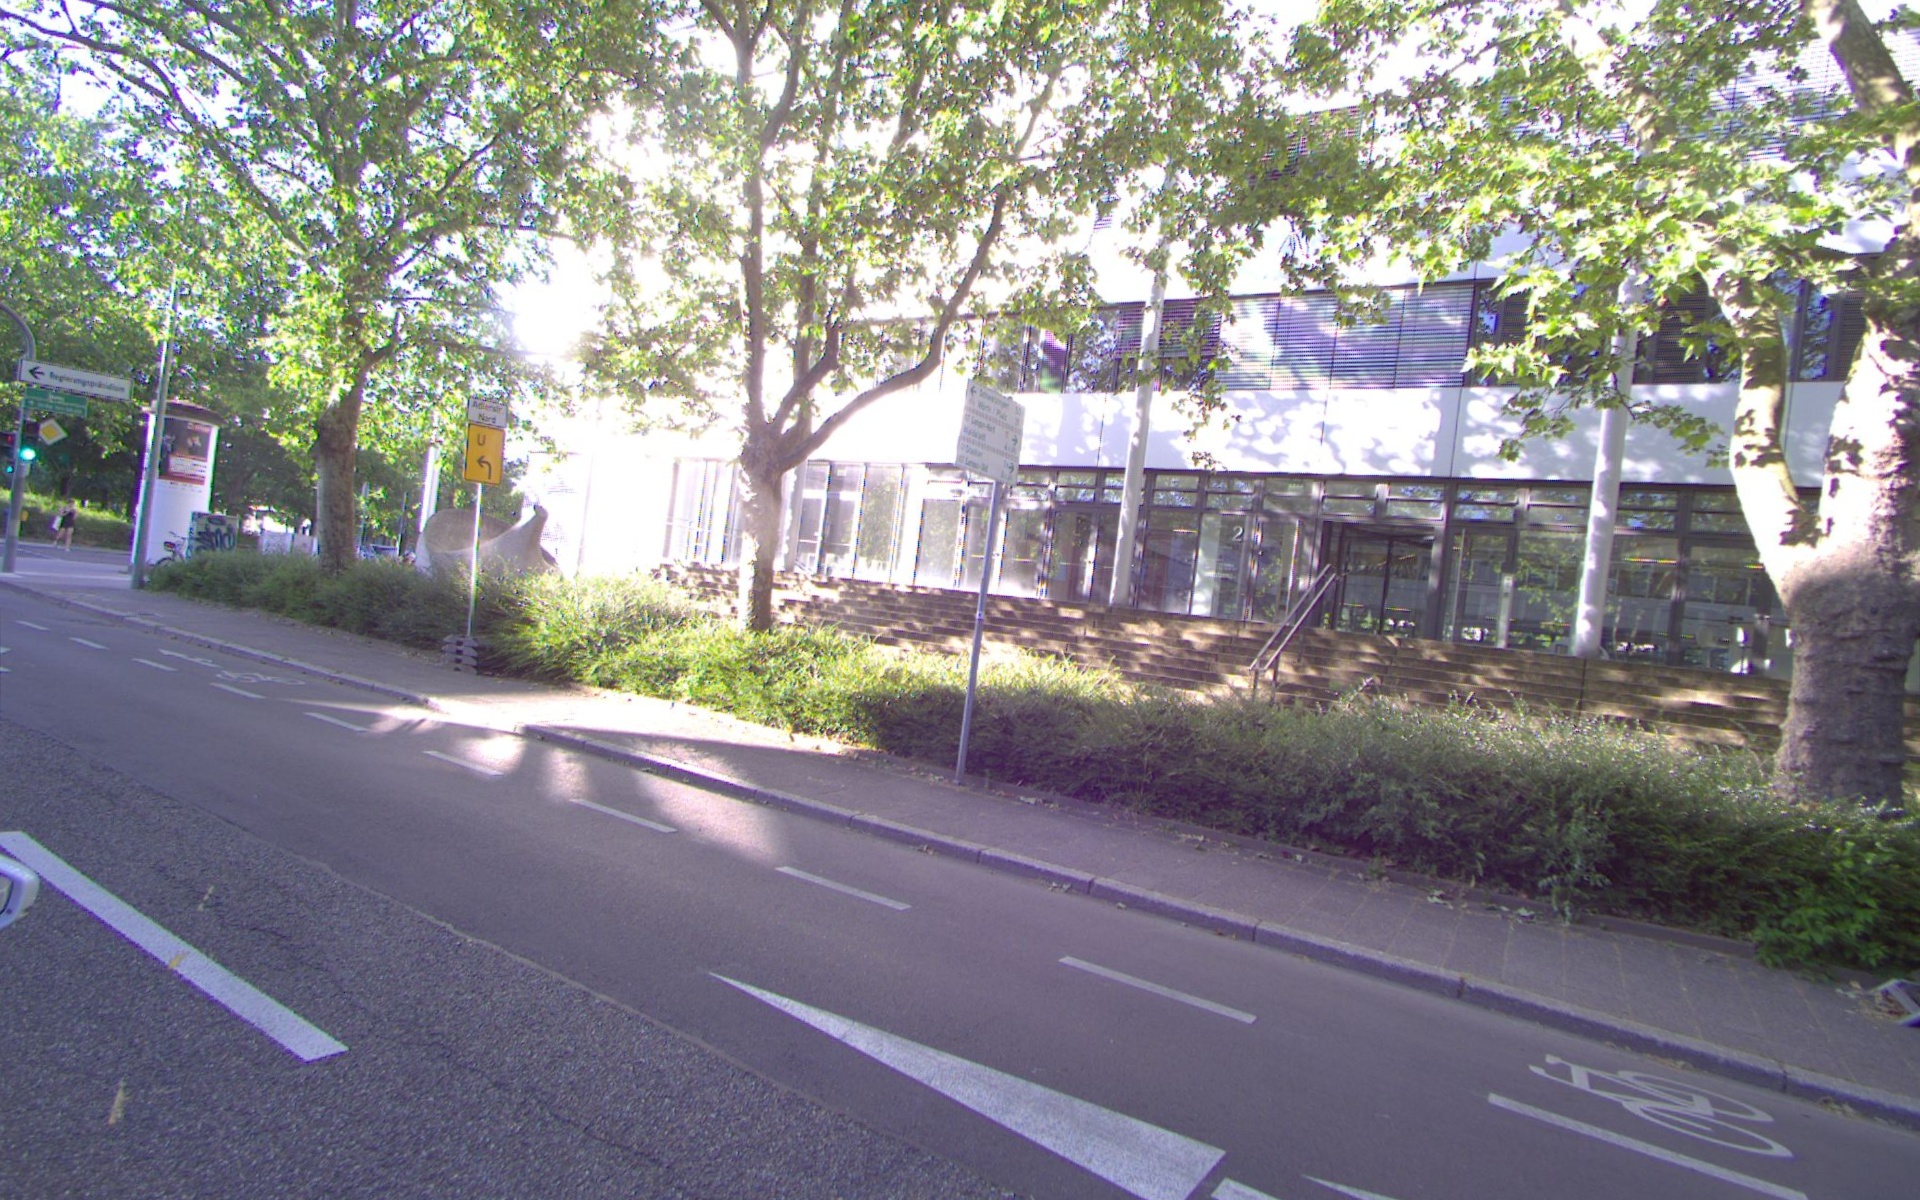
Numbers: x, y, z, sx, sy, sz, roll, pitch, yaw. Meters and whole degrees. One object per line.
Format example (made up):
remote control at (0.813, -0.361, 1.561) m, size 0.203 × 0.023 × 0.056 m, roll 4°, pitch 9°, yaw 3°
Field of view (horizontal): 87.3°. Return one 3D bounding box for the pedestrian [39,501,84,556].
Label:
pedestrian at (-28.026, -2.232, 31.379) m, size 0.895 × 1.563 × 0.637 m, roll 6°, pitch -1°, yaw 30°

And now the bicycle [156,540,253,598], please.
bicycle at (-15.914, -0.633, 21.247) m, size 0.631 × 1.040 × 1.887 m, roll 7°, pitch -2°, yaw -5°
